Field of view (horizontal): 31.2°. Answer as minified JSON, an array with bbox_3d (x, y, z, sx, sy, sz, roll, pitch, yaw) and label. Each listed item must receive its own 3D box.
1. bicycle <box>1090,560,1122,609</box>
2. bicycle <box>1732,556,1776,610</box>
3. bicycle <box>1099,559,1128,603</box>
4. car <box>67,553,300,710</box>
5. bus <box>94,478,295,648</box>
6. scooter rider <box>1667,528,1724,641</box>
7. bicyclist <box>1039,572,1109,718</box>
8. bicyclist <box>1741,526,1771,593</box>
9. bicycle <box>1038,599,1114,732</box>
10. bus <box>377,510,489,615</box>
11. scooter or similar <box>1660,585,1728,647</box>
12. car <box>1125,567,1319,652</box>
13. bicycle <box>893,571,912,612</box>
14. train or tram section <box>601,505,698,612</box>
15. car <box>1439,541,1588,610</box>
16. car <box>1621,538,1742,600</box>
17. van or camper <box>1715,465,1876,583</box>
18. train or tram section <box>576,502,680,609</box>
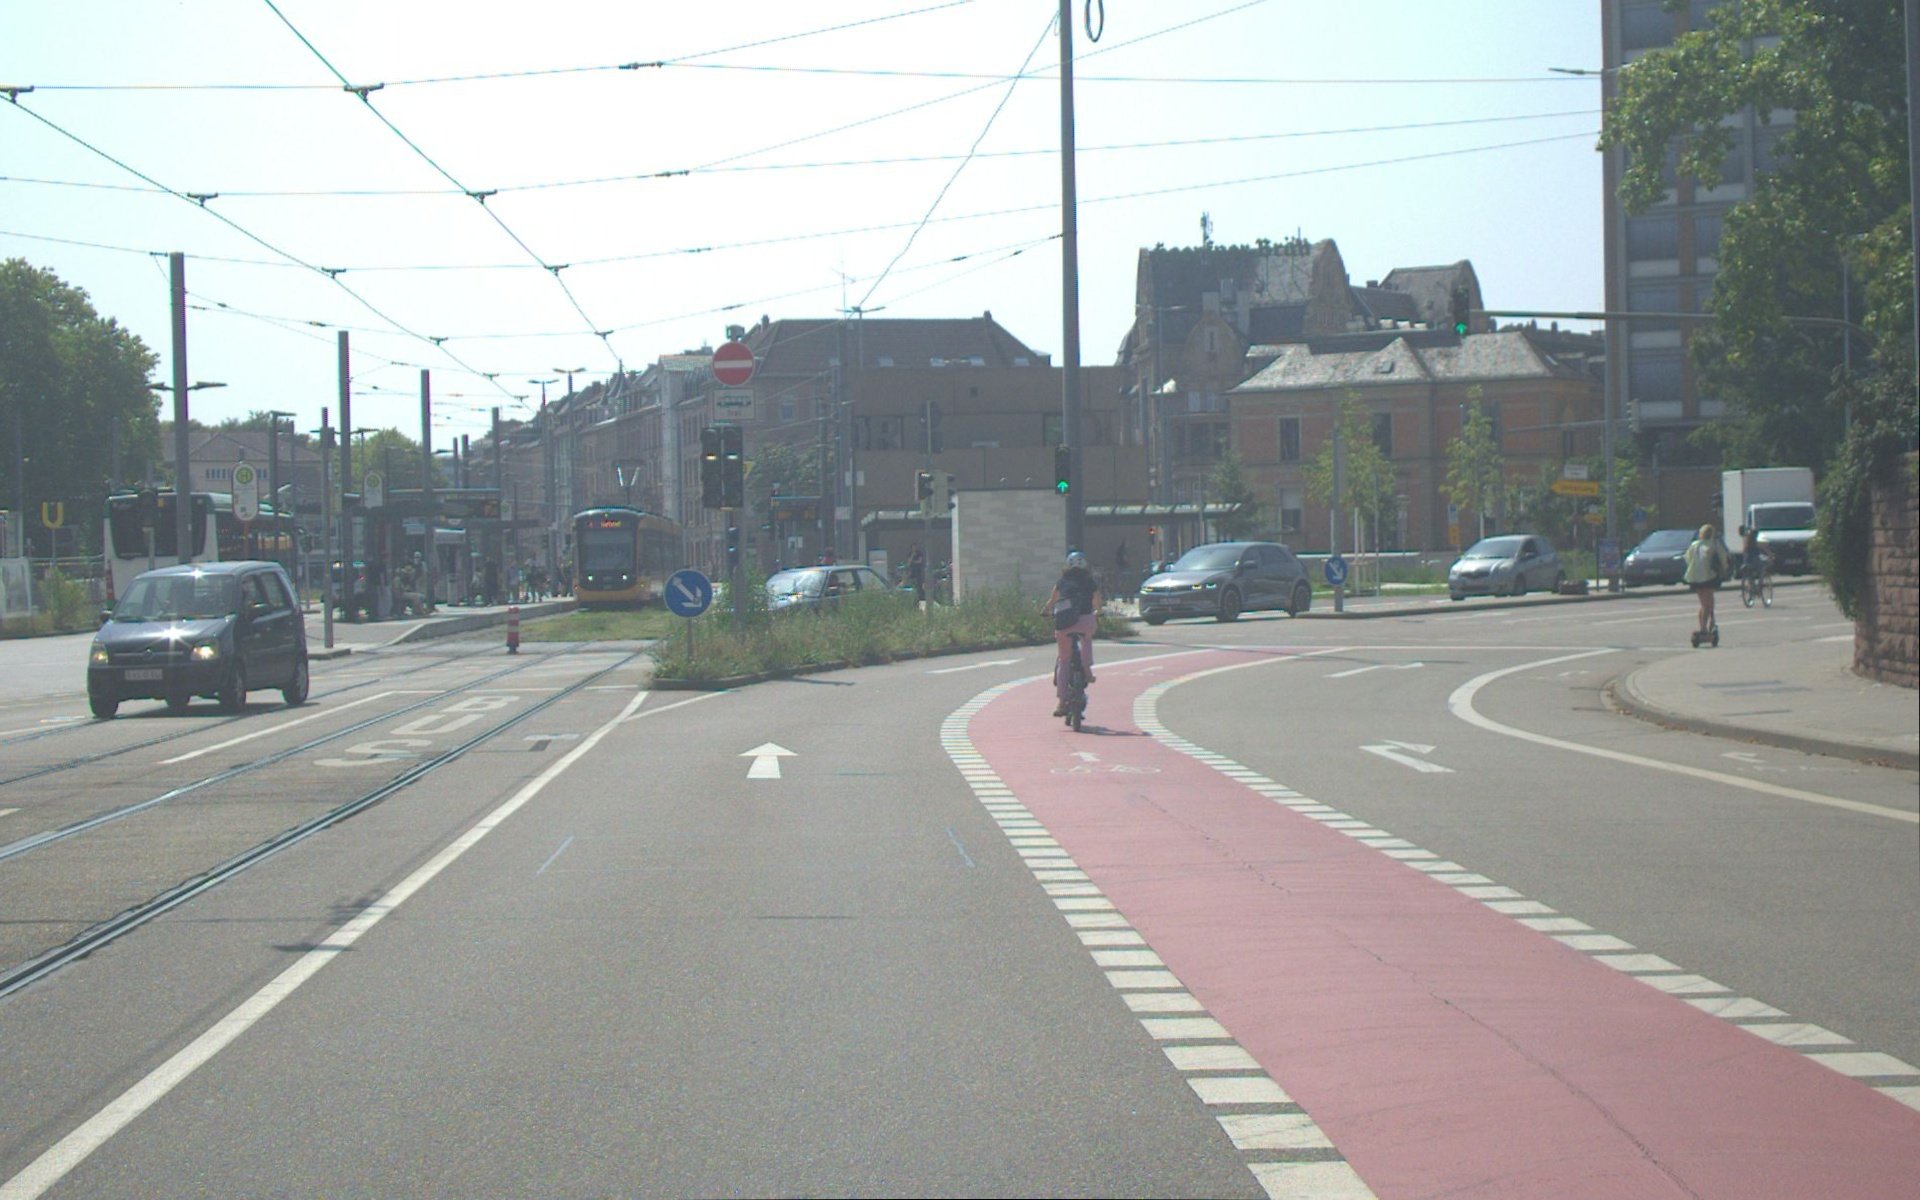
[{"bbox_3d":[3.721,-0.405,87.485,0.604,1.206,1.810,-1,1,8],"label":"bicycle"},{"bbox_3d":[16.957,-0.371,73.414,0.445,1.113,1.443,-1,1,32],"label":"bicycle"},{"bbox_3d":[4.253,-0.532,95.233,0.604,1.206,1.810,-1,1,8],"label":"bicycle"},{"bbox_3d":[-8.566,0.317,38.187,1.691,1.649,3.581,-1,1,1],"label":"car"},{"bbox_3d":[-18.125,-0.878,82.090,2.957,3.762,10.598,-1,1,-3],"label":"bus"},{"bbox_3d":[11.587,-0.248,54.157,0.763,1.769,0.554,-1,1,22],"label":"scooter rider"},{"bbox_3d":[1.056,0.410,31.907,0.602,1.330,0.660,-1,1,0],"label":"bicyclist"},{"bbox_3d":[17.041,-0.874,73.573,0.450,1.416,0.495,-1,1,31],"label":"bicyclist"},{"bbox_3d":[1.066,0.593,31.820,0.604,1.159,1.810,-1,1,-1],"label":"bicycle"},{"bbox_3d":[-19.424,-1.371,127.269,2.709,3.714,10.419,-1,1,-1],"label":"bus"},{"bbox_3d":[11.538,0.243,54.012,0.773,0.923,1.618,0,1,22],"label":"scooter or similar"},{"bbox_3d":[5.366,0.175,69.901,1.775,1.605,4.664,-1,1,35],"label":"car"},{"bbox_3d":[-1.471,-0.231,87.528,0.464,1.029,1.548,-1,1,-1],"label":"bicycle"},{"bbox_3d":[-12.634,-1.683,141.348,2.886,4.054,19.143,-1,1,-2],"label":"train or tram section"},{"bbox_3d":[13.001,-0.587,80.599,1.654,1.525,4.316,-1,1,36],"label":"car"},{"bbox_3d":[18.935,-0.813,90.109,1.699,1.525,4.175,-1,1,33],"label":"car"},{"bbox_3d":[24.646,-2.244,101.215,2.404,3.295,7.177,-1,1,32],"label":"van or camper"},{"bbox_3d":[-11.749,-1.575,122.971,2.856,3.536,17.744,-1,1,-3],"label":"train or tram section"}]
